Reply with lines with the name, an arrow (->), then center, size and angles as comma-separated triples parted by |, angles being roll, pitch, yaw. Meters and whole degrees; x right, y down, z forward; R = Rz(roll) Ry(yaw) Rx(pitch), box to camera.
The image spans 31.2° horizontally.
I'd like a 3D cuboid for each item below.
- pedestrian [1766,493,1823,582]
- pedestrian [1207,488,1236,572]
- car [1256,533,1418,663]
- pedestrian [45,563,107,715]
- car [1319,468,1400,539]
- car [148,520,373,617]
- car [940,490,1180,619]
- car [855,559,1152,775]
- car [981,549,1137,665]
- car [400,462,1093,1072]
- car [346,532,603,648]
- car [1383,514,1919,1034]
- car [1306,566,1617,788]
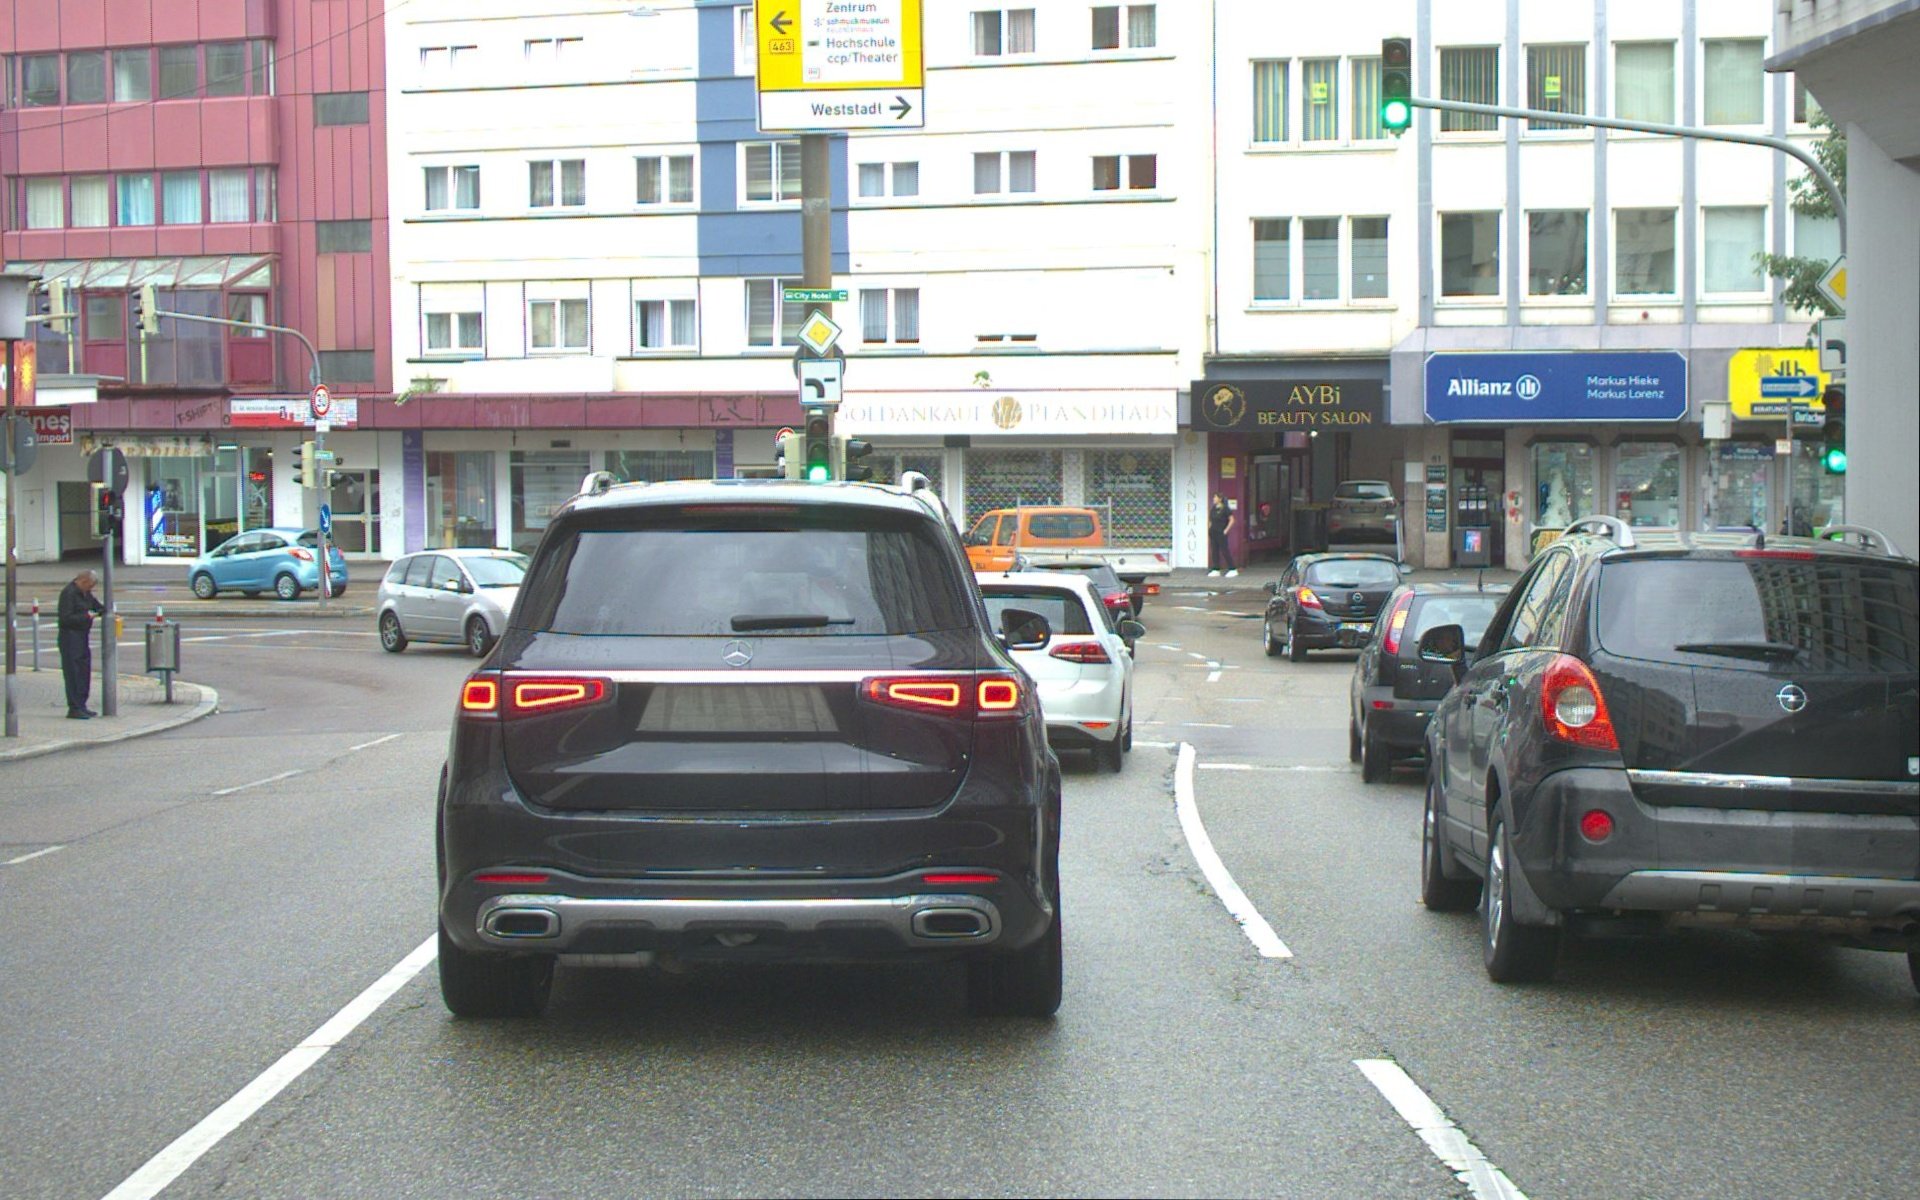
pedestrian -> 16.594, -1.237, 68.364 | 1.030, 1.683, 0.830 | 0, 7, 9
pedestrian -> 5.492, -1.481, 72.256 | 0.564, 1.683, 0.756 | 0, 7, 6
car -> 5.124, -0.028, 47.252 | 1.823, 1.653, 4.495 | 1, 0, 2
pedestrian -> -9.961, 0.434, 38.734 | 0.554, 1.691, 0.624 | 0, 1, -3
car -> 9.766, -2.329, 83.751 | 1.798, 1.664, 3.999 | -1, 1, 9
car -> -14.690, -0.661, 72.168 | 4.167, 1.831, 1.998 | 3, 1, 23
car -> 1.748, -0.833, 62.644 | 2.242, 2.220, 5.430 | 1, 1, -23
car -> 0.426, 0.446, 26.595 | 1.874, 1.489, 4.399 | 1, 1, 6
car -> 1.303, 0.065, 46.957 | 1.993, 1.481, 4.237 | -1, 1, 0
car -> -0.703, 0.464, 12.588 | 2.038, 1.793, 4.663 | 1, 1, -2
car -> -7.471, -0.143, 52.669 | 1.736, 1.587, 4.173 | -3, 0, -44
car -> 2.900, 0.567, 13.849 | 1.897, 1.689, 4.505 | 3, 1, 2
car -> 3.634, 0.510, 25.546 | 1.767, 1.392, 4.000 | 3, 1, 2
